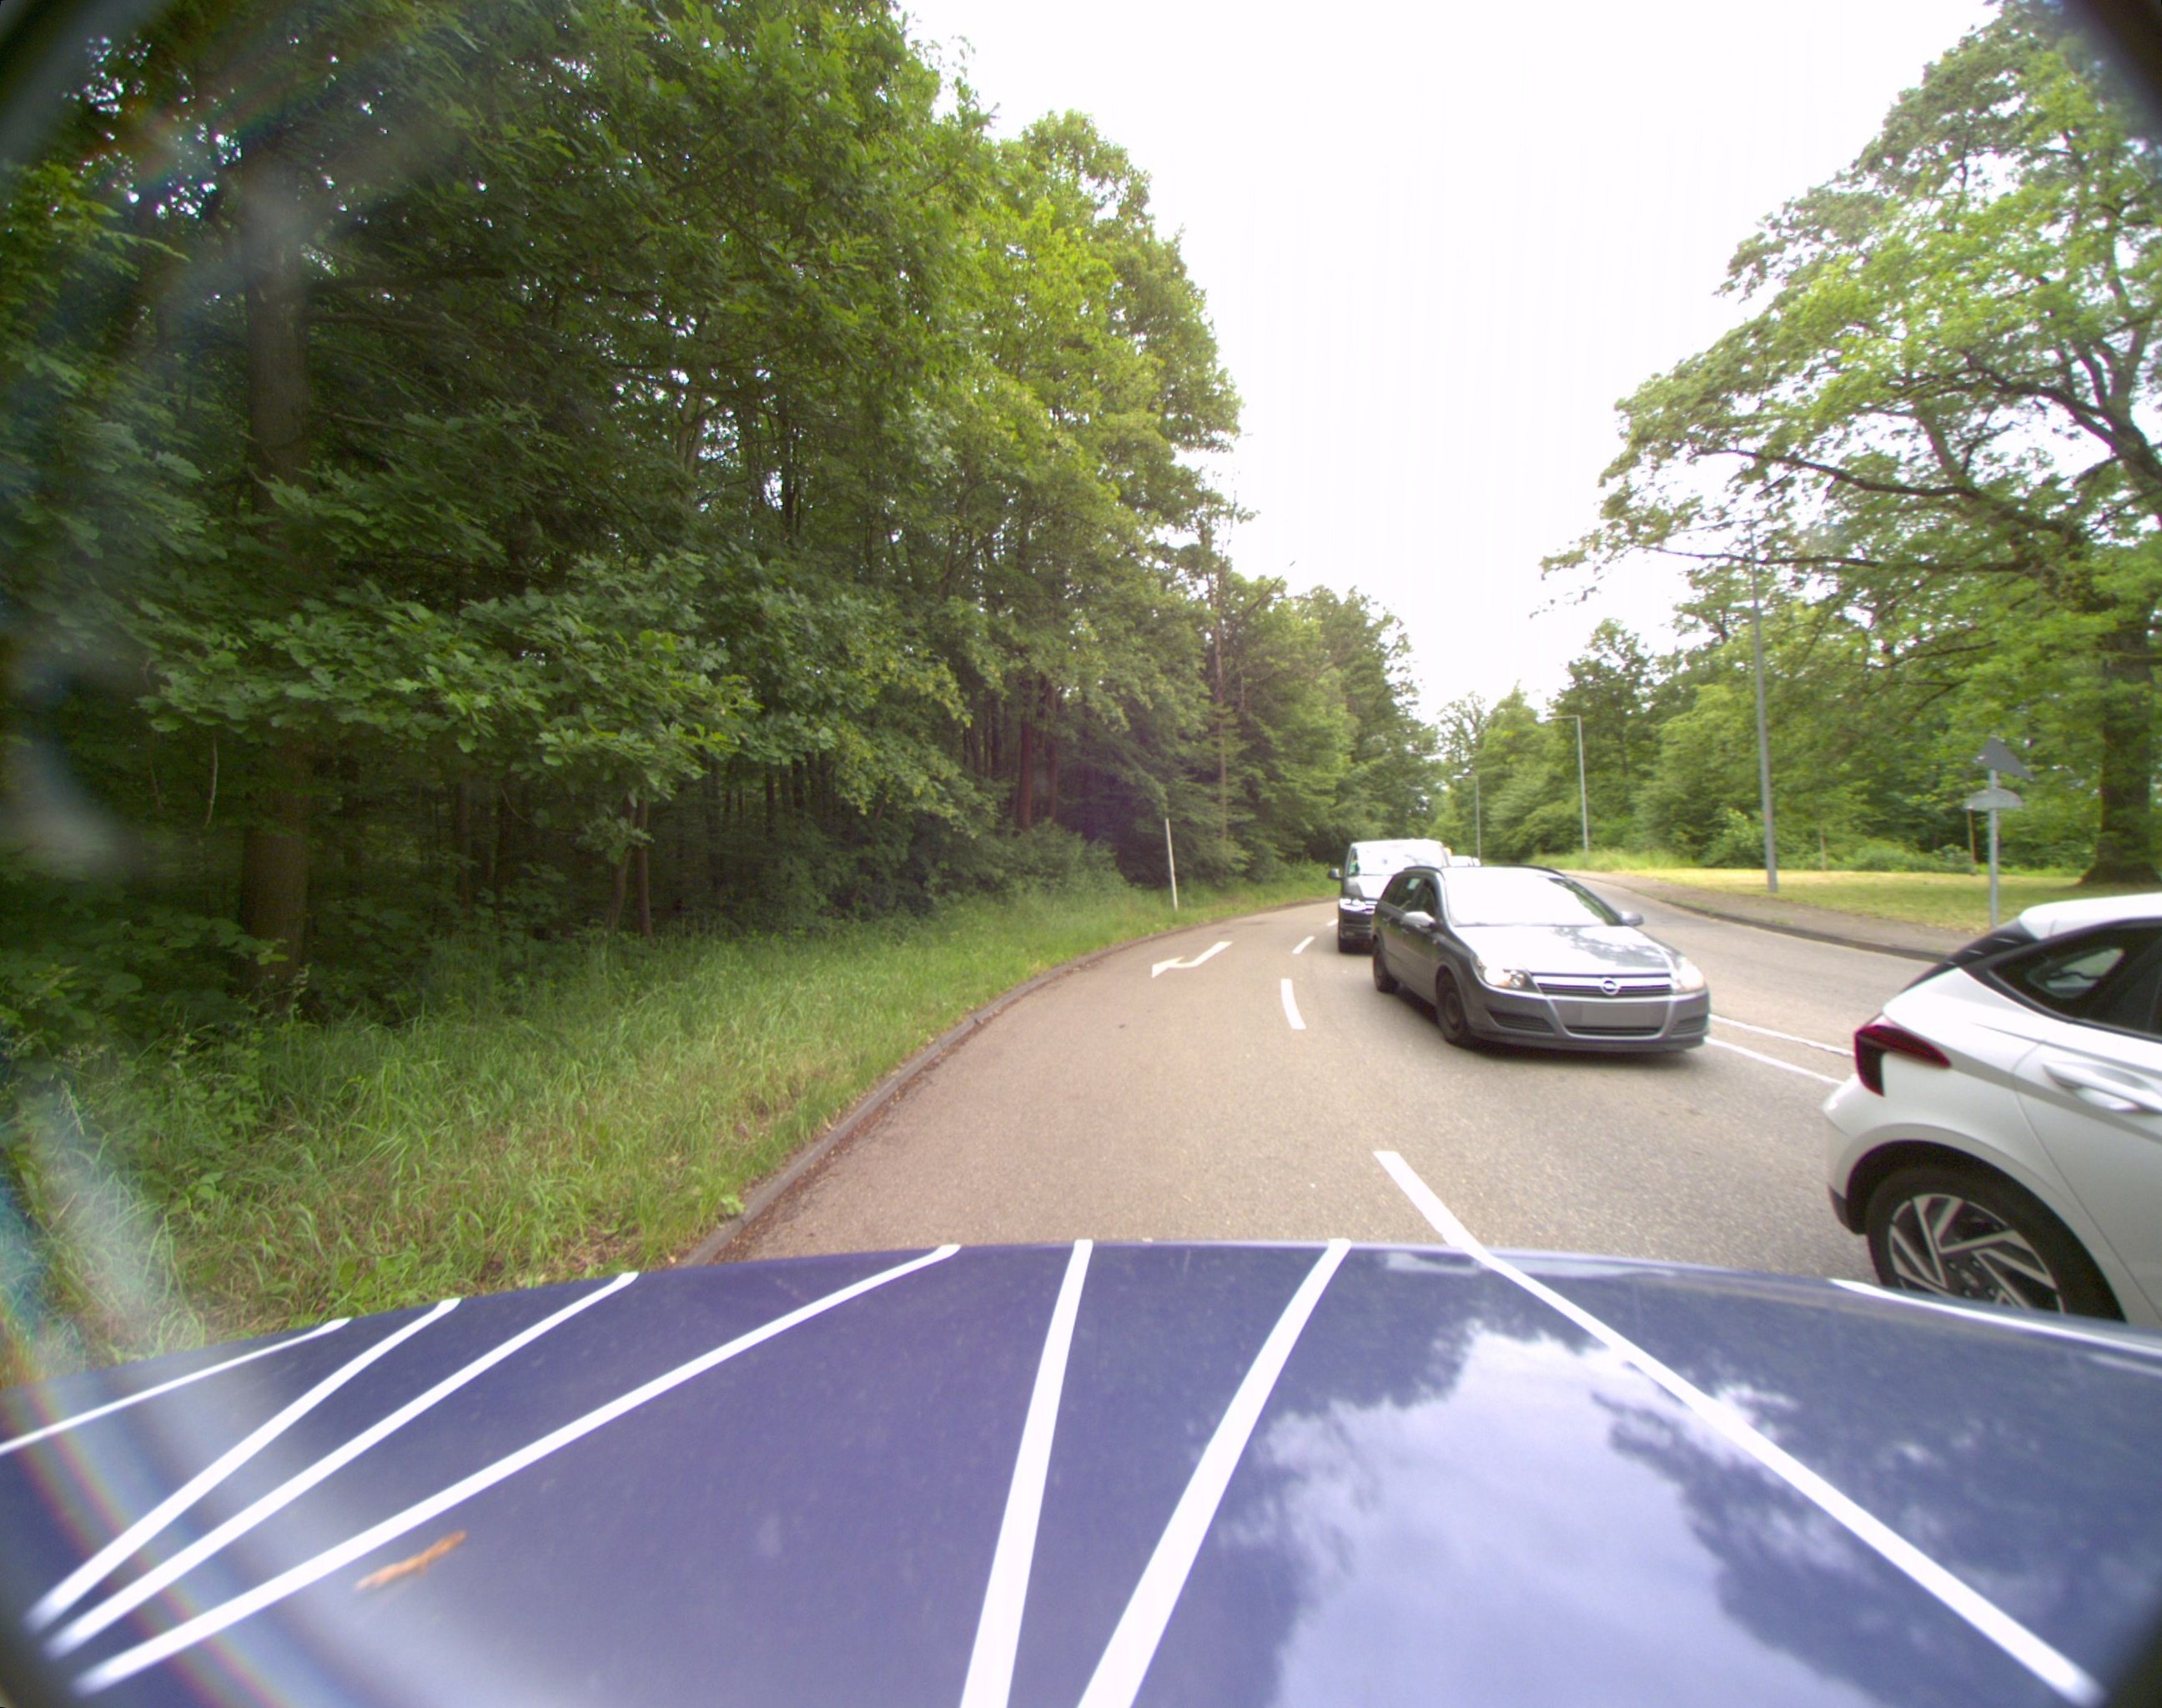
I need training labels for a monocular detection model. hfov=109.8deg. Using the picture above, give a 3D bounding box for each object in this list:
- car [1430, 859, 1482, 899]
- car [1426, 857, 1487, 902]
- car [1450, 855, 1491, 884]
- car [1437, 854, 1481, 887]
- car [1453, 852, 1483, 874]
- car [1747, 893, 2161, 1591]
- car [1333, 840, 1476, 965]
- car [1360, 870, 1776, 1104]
[{"bbox_3d":[15.211,0.982,30.953,1.775,1.490,3.880,-2,-1,25],"label":"car"},{"bbox_3d":[13.364,0.871,27.175,1.775,1.490,3.880,-2,-1,25],"label":"car"},{"bbox_3d":[20.963,0.805,41.025,1.775,1.490,3.880,-2,-1,25],"label":"car"},{"bbox_3d":[18.057,0.772,36.414,1.775,1.490,3.880,-2,-1,25],"label":"car"},{"bbox_3d":[27.804,0.636,54.551,1.775,1.490,3.880,-2,-1,28],"label":"car"},{"bbox_3d":[3.146,0.860,0.669,1.653,1.470,4.074,-1,-1,3],"label":"car"},{"bbox_3d":[5.756,0.761,13.832,1.987,1.861,4.539,-1,-1,21],"label":"car"},{"bbox_3d":[4.038,0.937,7.304,1.801,1.470,4.474,-1,-1,11],"label":"car"}]
